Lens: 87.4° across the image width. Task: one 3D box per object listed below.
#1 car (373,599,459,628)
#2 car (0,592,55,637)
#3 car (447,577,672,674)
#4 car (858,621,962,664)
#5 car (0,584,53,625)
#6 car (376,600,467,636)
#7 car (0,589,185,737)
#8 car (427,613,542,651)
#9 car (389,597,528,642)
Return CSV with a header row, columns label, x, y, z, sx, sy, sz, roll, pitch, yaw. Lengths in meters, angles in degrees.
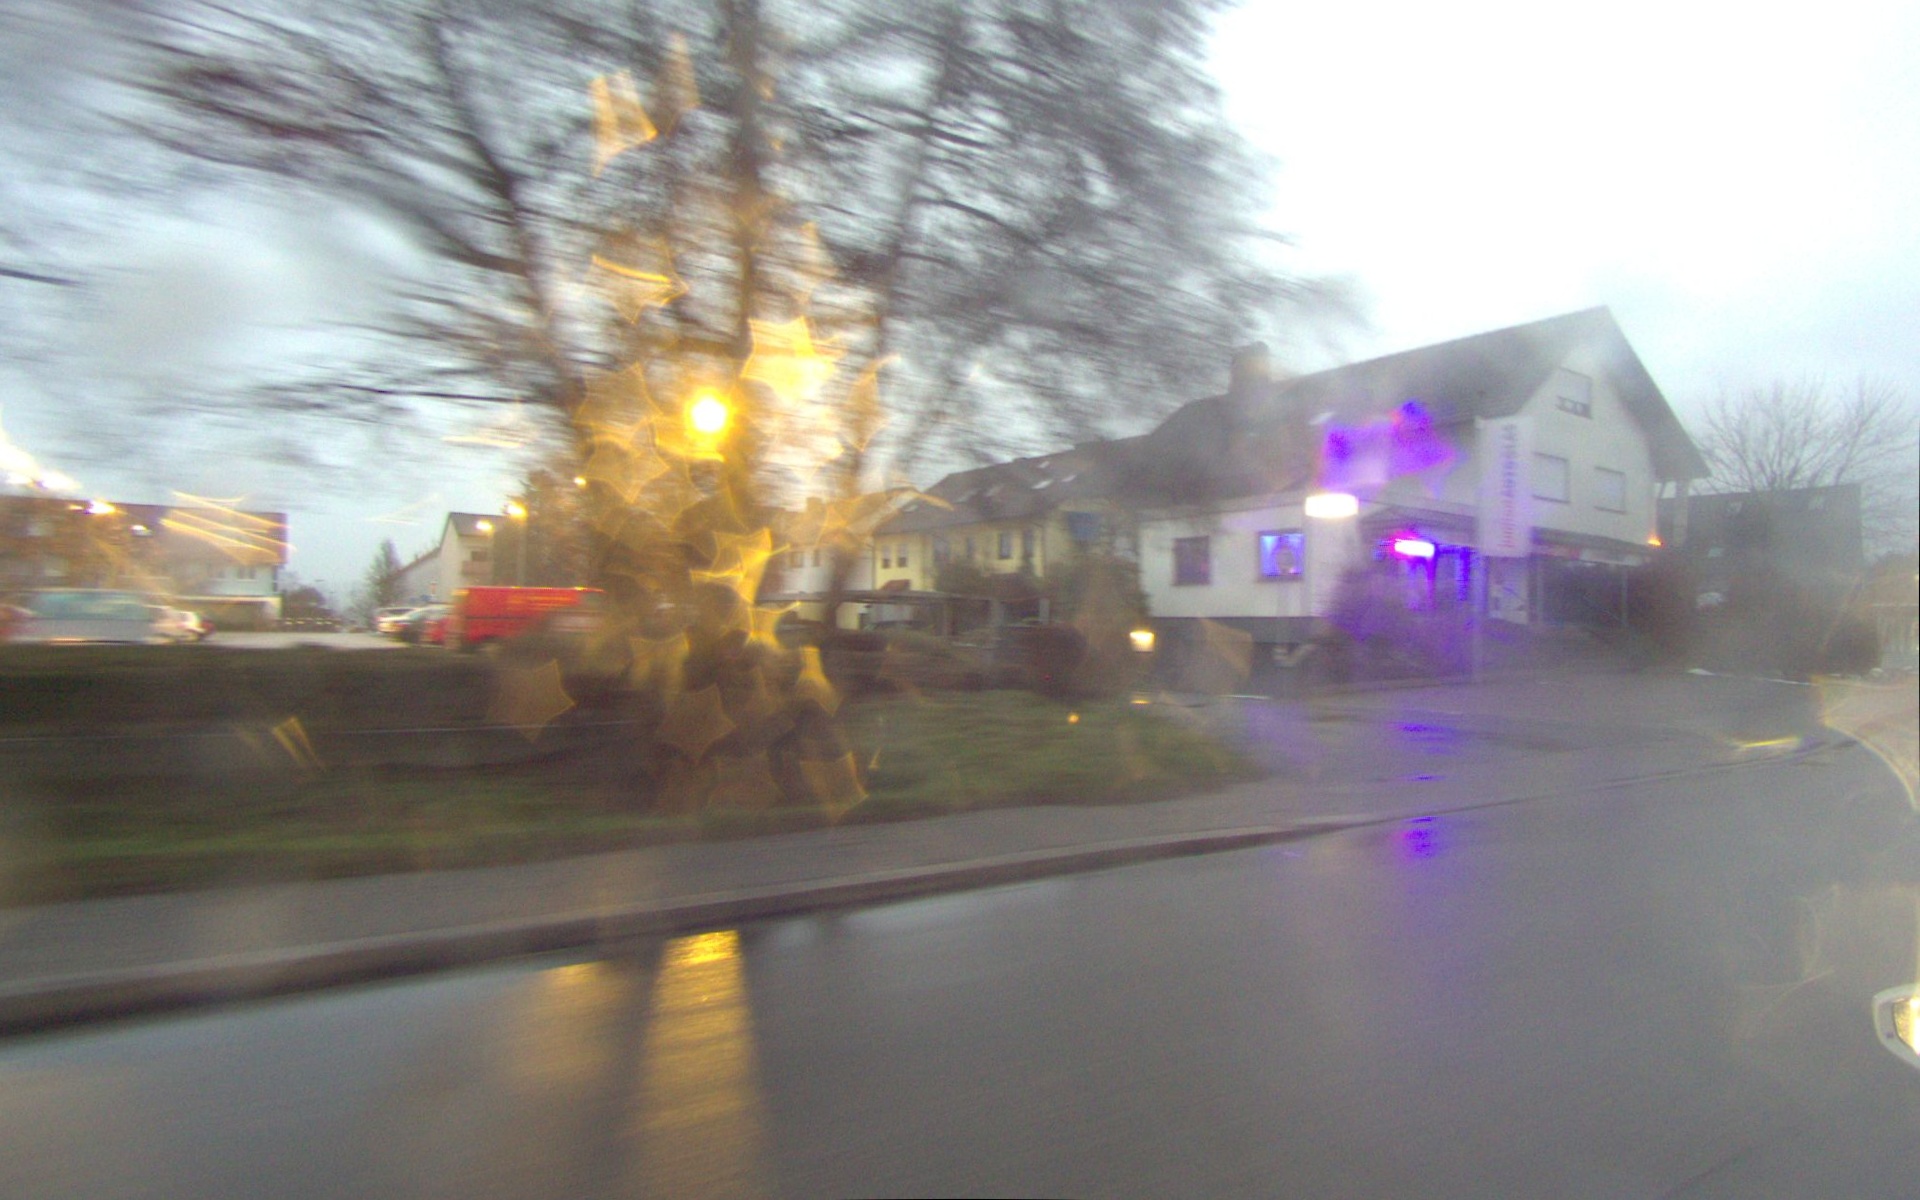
label,x,y,z,sx,sy,sz,roll,pitch,yaw
car,-33.423,0.793,61.756,4.472,1.662,1.918,0,3,-35
car,-36.733,0.557,37.713,3.965,1.639,1.897,-1,2,-39
car,-10.555,0.593,26.604,5.214,2.310,2.266,0,2,-34
car,-1.734,1.472,35.180,3.341,1.350,1.423,2,2,-36
car,-39.144,0.175,40.293,3.965,1.639,1.897,-1,2,-39
car,-32.091,1.063,59.897,4.612,2.003,2.108,0,2,-34
car,-14.274,0.867,16.611,2.111,2.003,4.606,0,2,-40
car,-16.164,1.059,34.153,3.358,1.146,1.550,0,3,-34
car,-19.451,0.722,39.011,4.612,1.590,2.034,0,2,-34
